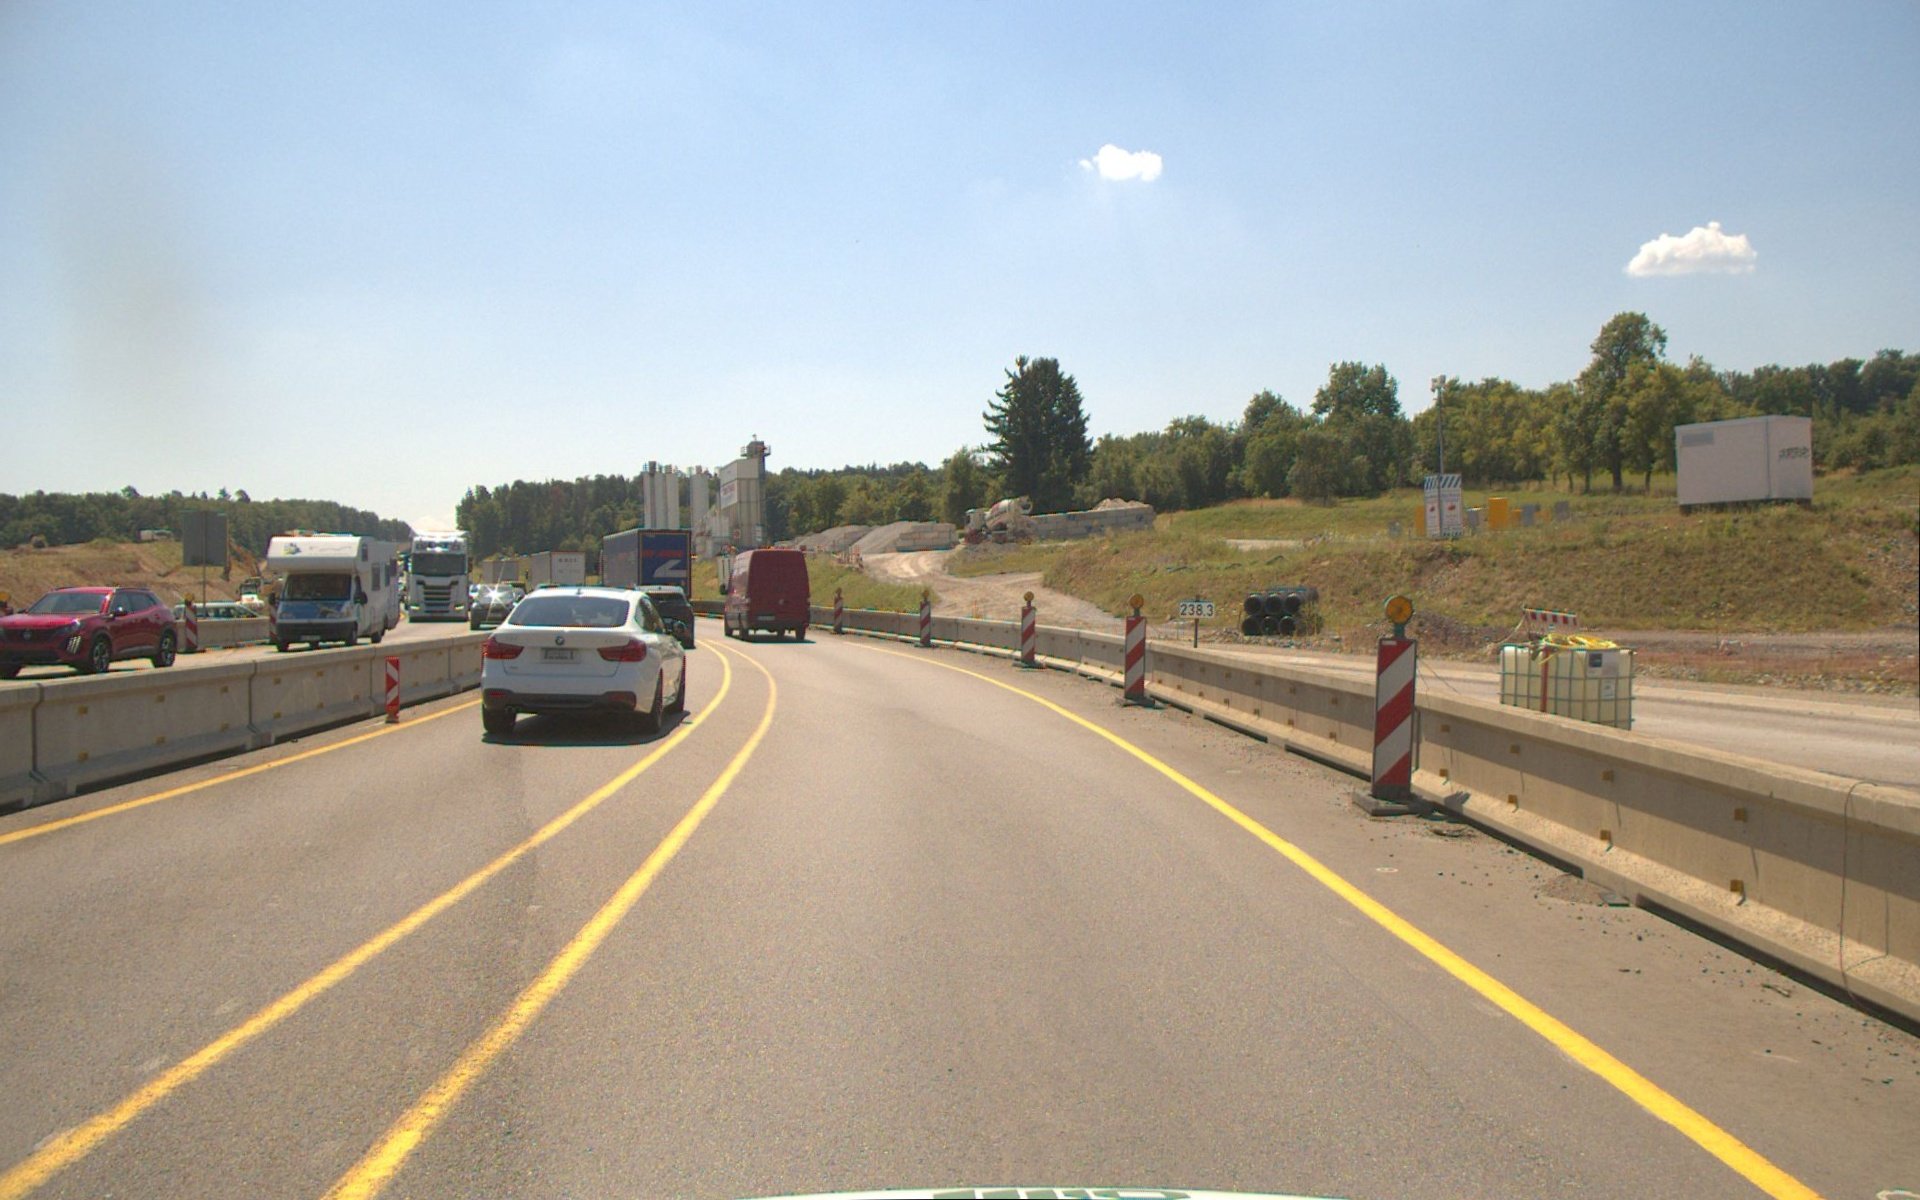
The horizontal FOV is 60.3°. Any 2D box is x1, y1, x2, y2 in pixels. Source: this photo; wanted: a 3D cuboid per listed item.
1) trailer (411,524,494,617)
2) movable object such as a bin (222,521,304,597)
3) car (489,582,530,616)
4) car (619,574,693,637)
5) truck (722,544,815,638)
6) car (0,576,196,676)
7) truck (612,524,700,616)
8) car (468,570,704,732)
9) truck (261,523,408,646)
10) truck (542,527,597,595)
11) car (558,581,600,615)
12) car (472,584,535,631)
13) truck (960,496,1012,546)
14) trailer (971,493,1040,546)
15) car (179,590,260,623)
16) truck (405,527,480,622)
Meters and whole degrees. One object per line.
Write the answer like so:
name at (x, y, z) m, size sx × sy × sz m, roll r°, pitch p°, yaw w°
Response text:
trailer at (-25.160, -1.459, 82.622) m, size 2.712 × 4.186 × 13.935 m, roll -1°, pitch 1°, yaw -12°
movable object such as a bin at (-73.891, -4.316, 175.508) m, size 7.522 × 7.848 × 3.427 m, roll -1°, pitch 1°, yaw -19°
car at (-21.254, -0.074, 78.203) m, size 1.639 × 1.501 × 3.958 m, roll -1°, pitch 1°, yaw -12°
car at (-8.041, 0.120, 44.006) m, size 1.762 × 1.561 × 3.924 m, roll -1°, pitch 1°, yaw -9°
truck at (-5.982, -0.315, 50.980) m, size 2.076 × 2.679 × 6.461 m, roll -1°, pitch 1°, yaw -13°
car at (-15.764, 0.412, 30.099) m, size 1.685 × 1.656 × 4.336 m, roll -1°, pitch 1°, yaw 0°
truck at (-14.971, -1.461, 80.947) m, size 2.970 × 4.225 × 8.227 m, roll -1°, pitch 1°, yaw -19°
car at (-4.049, 0.460, 18.717) m, size 1.759 × 1.561 × 5.070 m, roll 1°, pitch 1°, yaw -3°
truck at (-17.323, -0.451, 46.241) m, size 2.397 × 3.125 × 7.232 m, roll -1°, pitch 1°, yaw -9°
truck at (-29.076, -2.831, 122.750) m, size 3.623 × 4.773 × 9.713 m, roll -1°, pitch 1°, yaw -15°
car at (-19.167, -0.129, 83.128) m, size 1.773 × 1.607 × 3.982 m, roll -1°, pitch 1°, yaw -17°
car at (-17.029, 0.243, 61.829) m, size 1.629 × 1.633 × 4.389 m, roll -1°, pitch 1°, yaw -8°
truck at (2.199, -6.699, 140.792) m, size 2.715 × 4.167 × 4.061 m, roll -2°, pitch 1°, yaw -29°
trailer at (3.753, -6.674, 137.881) m, size 2.726 × 4.186 × 6.682 m, roll -2°, pitch 1°, yaw -29°
car at (-35.530, 0.297, 79.381) m, size 1.521 × 1.480 × 3.180 m, roll 0°, pitch 1°, yaw 44°
truck at (-23.593, -1.179, 75.558) m, size 2.654 × 4.132 × 5.485 m, roll -1°, pitch 1°, yaw -12°
